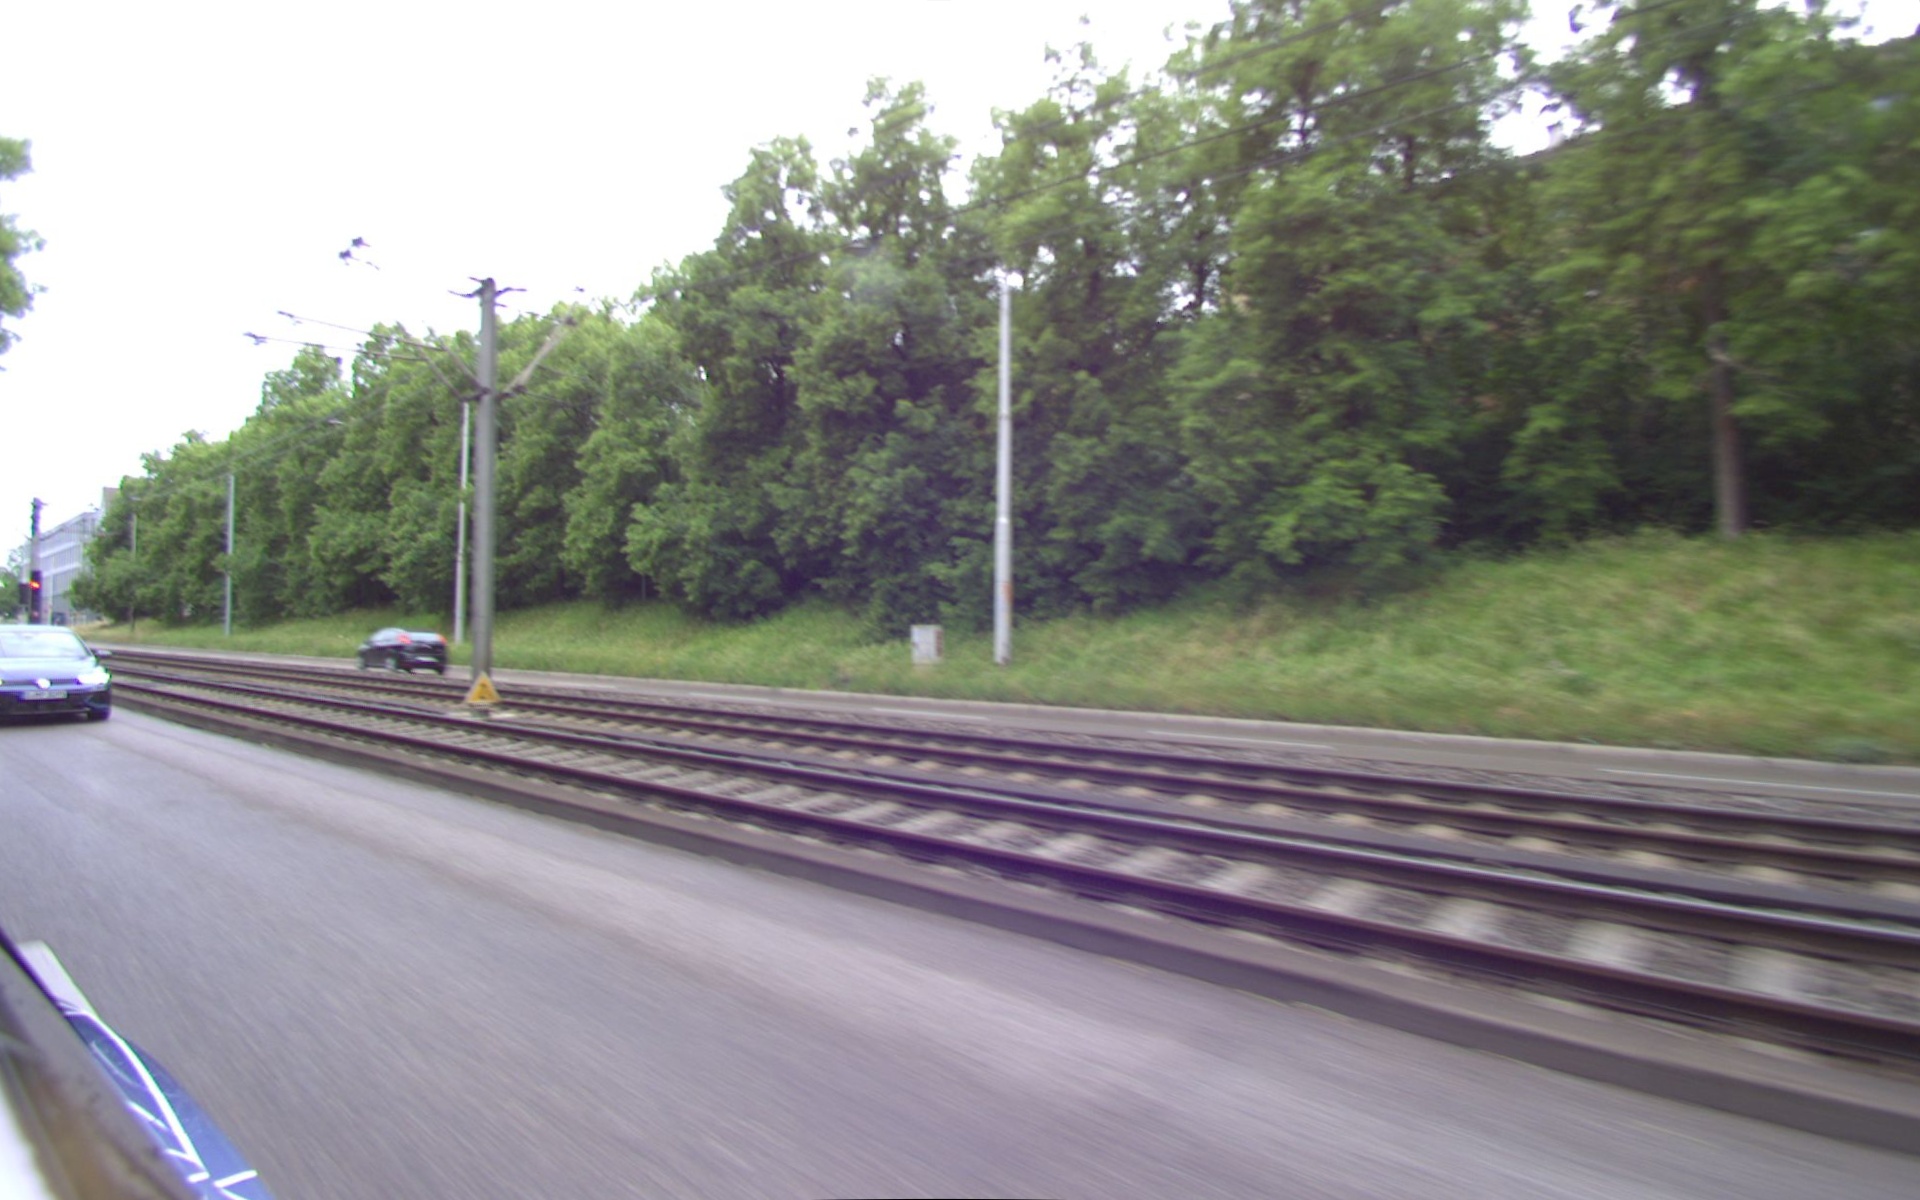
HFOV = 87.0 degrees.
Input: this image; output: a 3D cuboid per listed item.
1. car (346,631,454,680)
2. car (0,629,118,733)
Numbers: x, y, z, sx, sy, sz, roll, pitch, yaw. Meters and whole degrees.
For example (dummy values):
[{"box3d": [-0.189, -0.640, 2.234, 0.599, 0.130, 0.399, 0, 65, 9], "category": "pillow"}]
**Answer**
[{"box3d": [-18.117, 1.780, 32.671, 4.024, 1.454, 1.653, -1, -5, 40], "category": "car"}, {"box3d": [-14.606, 1.178, 15.705, 3.831, 1.459, 1.748, -1, -3, 41], "category": "car"}]
